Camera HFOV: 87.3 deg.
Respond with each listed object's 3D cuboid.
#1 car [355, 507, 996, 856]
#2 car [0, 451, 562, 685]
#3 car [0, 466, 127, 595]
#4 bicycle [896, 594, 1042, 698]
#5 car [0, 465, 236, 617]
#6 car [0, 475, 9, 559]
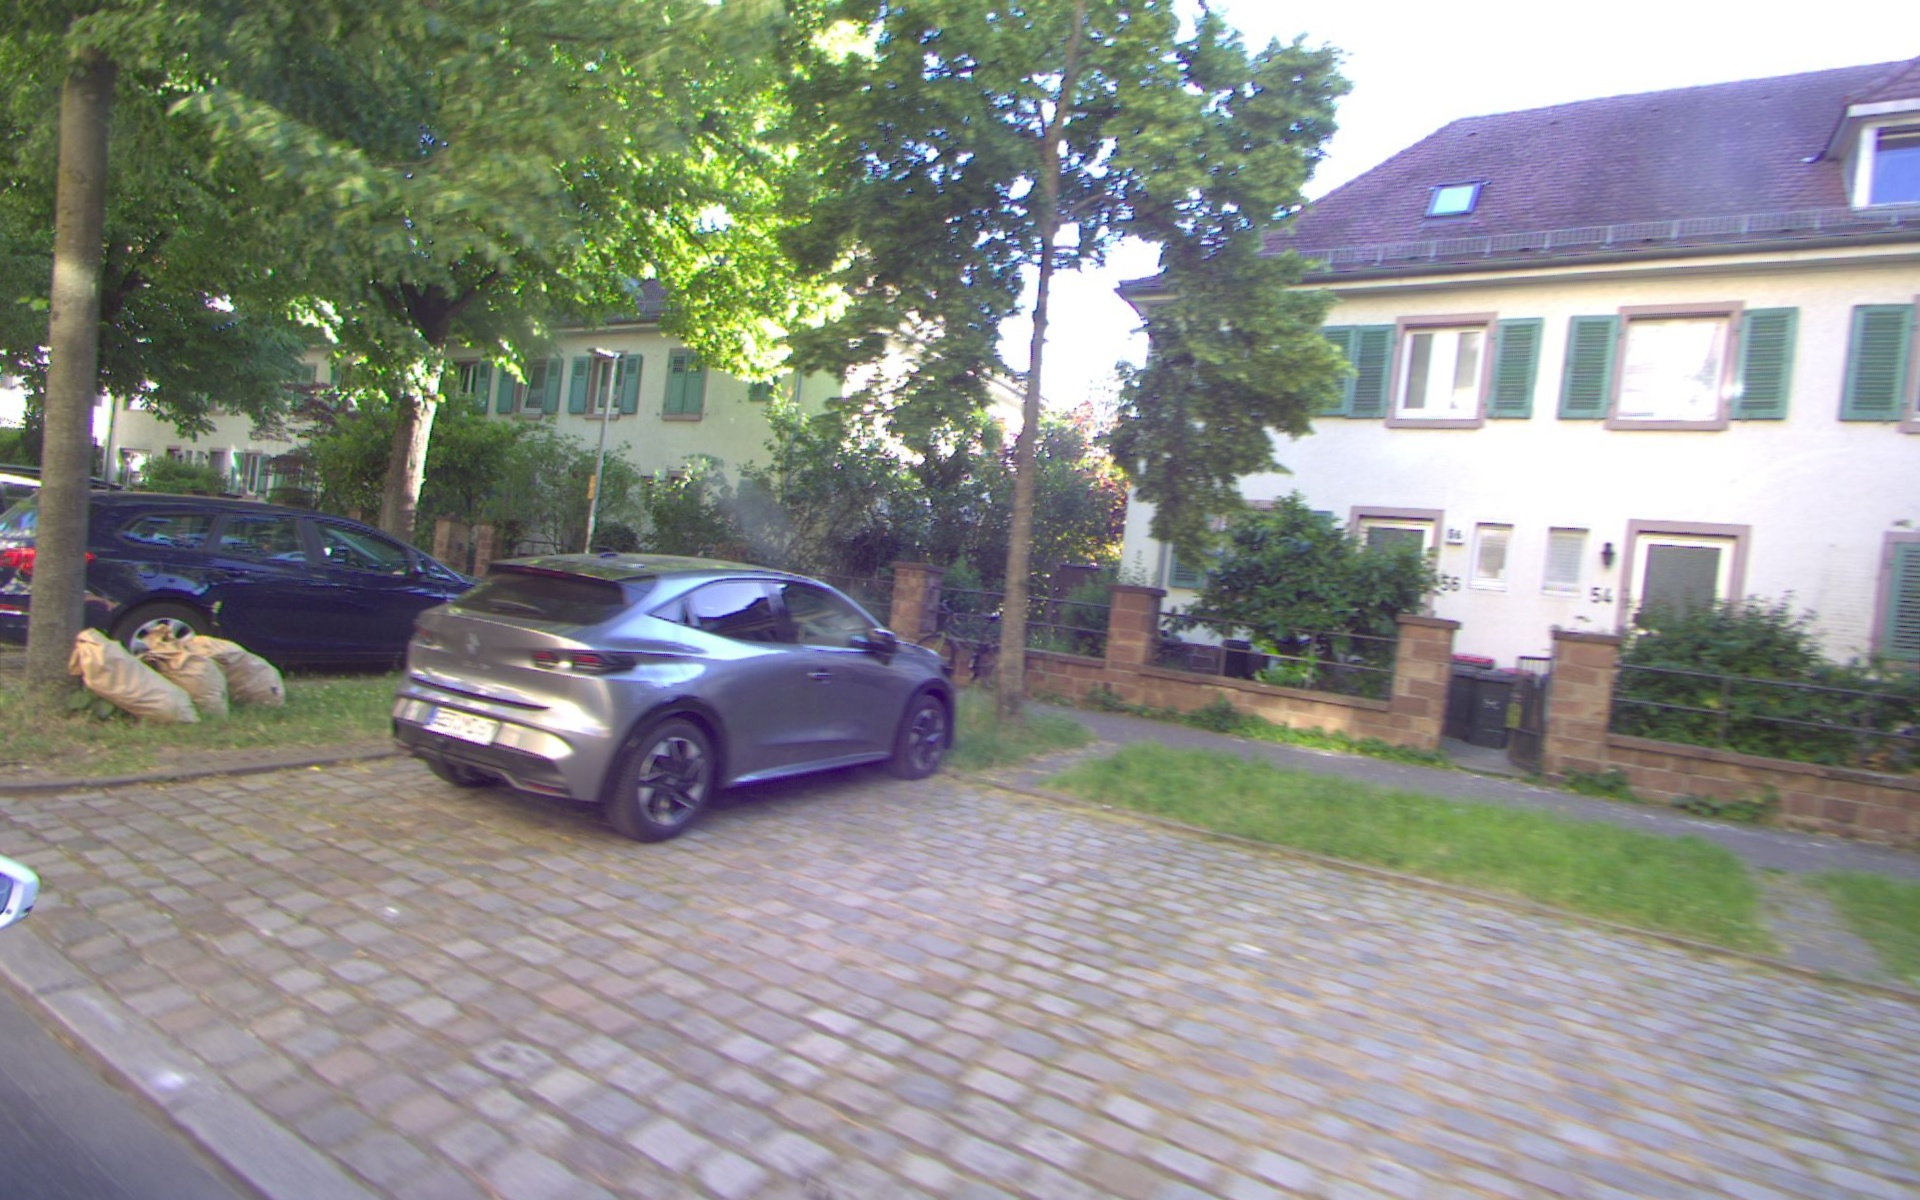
[{"bbox_3d":[-1.443,0.457,6.672,1.661,1.472,4.040,7,0,28],"label":"car"},{"bbox_3d":[-6.040,-0.140,9.178,1.664,1.619,4.225,5,-1,33],"label":"car"},{"bbox_3d":[-13.853,-1.065,13.202,1.675,1.619,4.141,5,-1,33],"label":"car"},{"bbox_3d":[0.095,0.583,13.154,1.789,1.143,0.564,6,2,32],"label":"bicycle"},{"bbox_3d":[-11.448,-0.776,12.307,1.663,1.619,3.775,6,0,33],"label":"car"},{"bbox_3d":[-20.382,-1.792,18.270,1.674,1.619,4.145,5,-1,29],"label":"car"}]
